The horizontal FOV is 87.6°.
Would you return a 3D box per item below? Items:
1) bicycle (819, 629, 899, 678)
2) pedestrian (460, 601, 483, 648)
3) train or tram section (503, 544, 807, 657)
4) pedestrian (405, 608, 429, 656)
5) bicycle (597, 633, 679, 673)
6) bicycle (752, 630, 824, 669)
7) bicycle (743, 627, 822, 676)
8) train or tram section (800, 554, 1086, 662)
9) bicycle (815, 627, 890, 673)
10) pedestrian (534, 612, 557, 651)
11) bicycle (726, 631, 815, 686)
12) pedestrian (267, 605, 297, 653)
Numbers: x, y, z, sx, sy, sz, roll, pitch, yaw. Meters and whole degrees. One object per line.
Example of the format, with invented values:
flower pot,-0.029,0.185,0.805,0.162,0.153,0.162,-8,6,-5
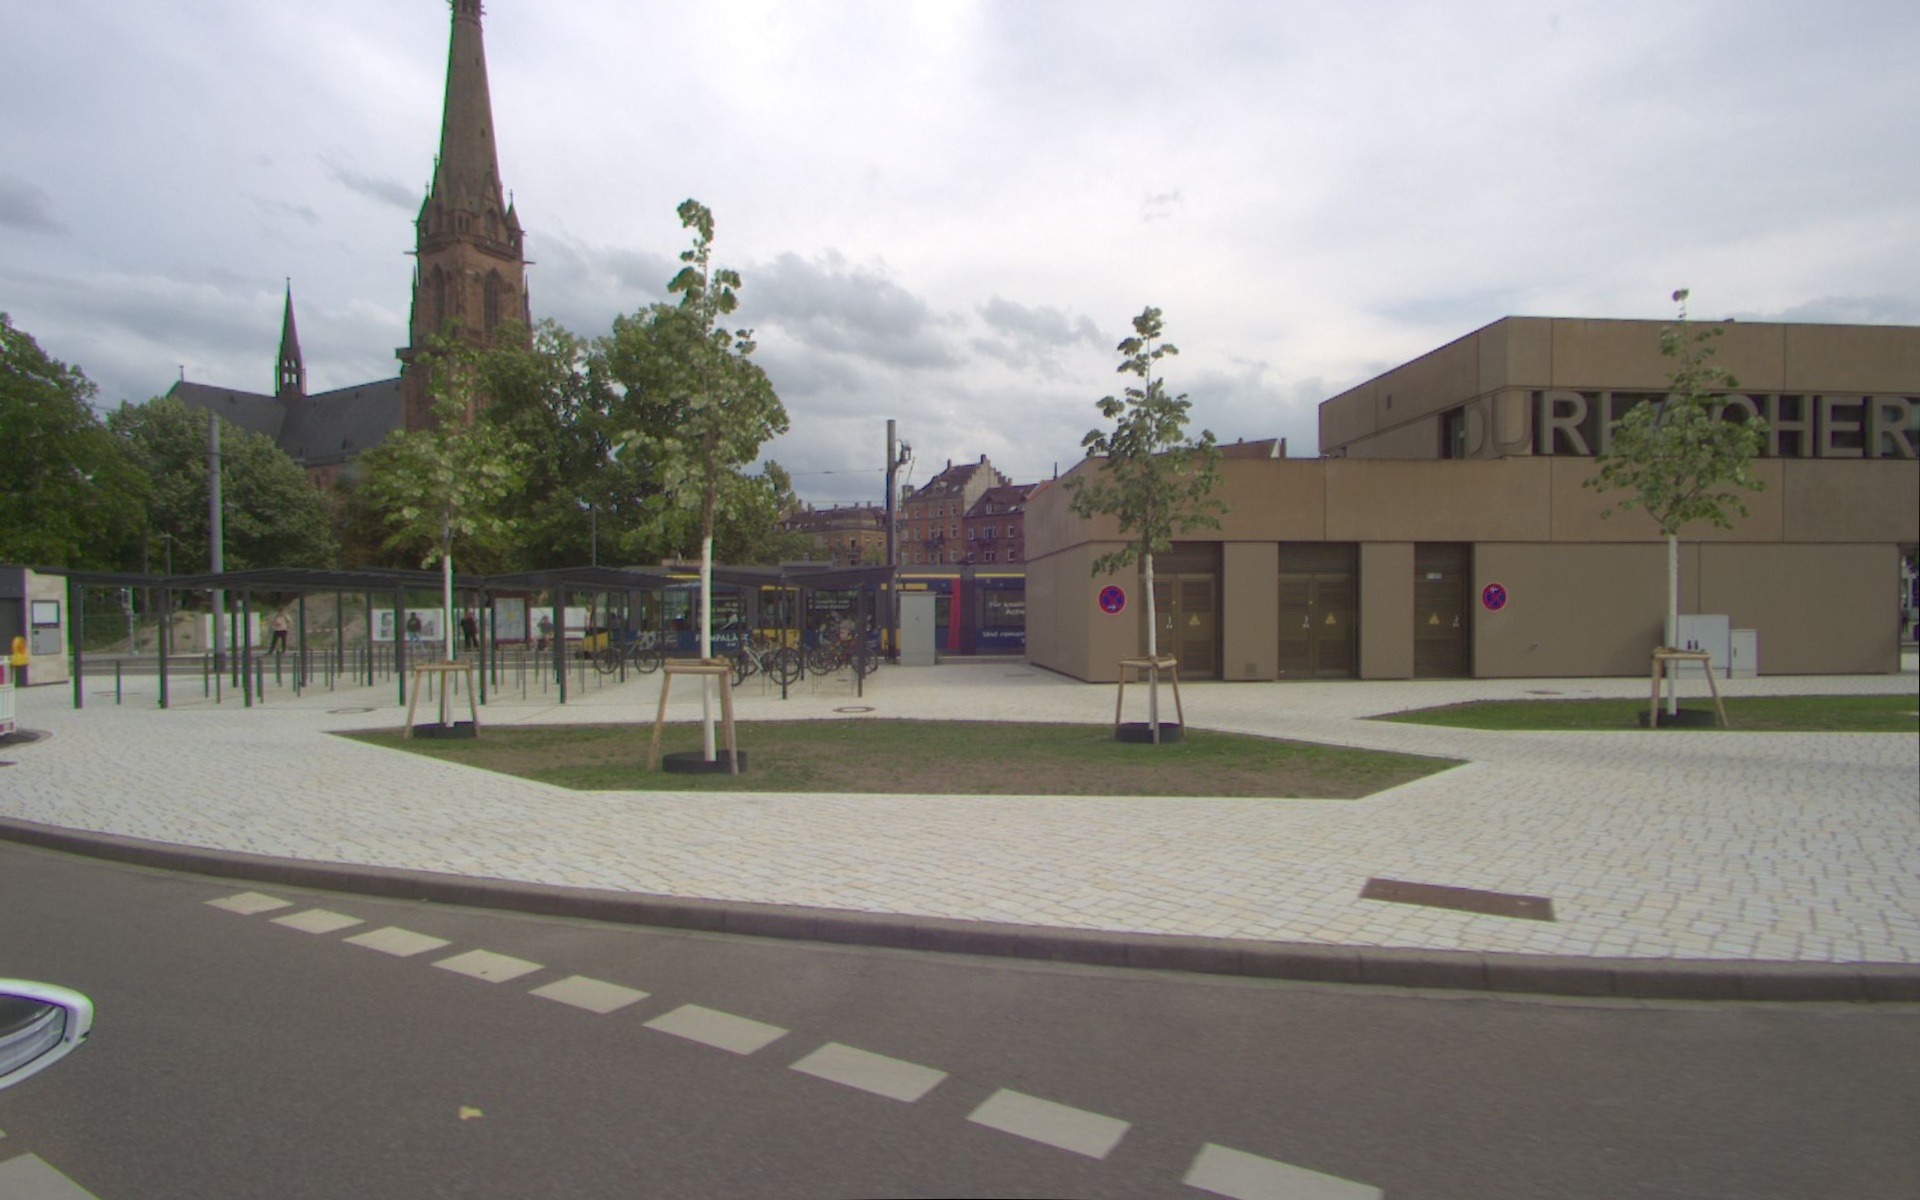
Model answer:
bicycle,-2.580,1.366,25.515,1.931,1.172,0.583,2,1,-13
pedestrian,-19.136,0.951,39.214,0.665,1.825,0.522,1,1,-11
train or tram section,-9.889,0.035,33.396,9.189,3.321,3.061,2,1,-5
pedestrian,-21.053,1.247,38.862,0.665,1.825,0.522,1,1,-11
bicycle,-8.419,1.381,26.231,1.929,0.968,0.583,2,1,-7
bicycle,-4.785,1.376,27.910,1.929,0.983,0.583,2,1,-7
bicycle,-4.507,1.306,25.447,1.931,1.172,0.583,2,1,-13
train or tram section,-0.618,0.276,34.144,9.248,3.256,3.061,2,1,-5
bicycle,-2.886,1.347,26.937,1.931,1.172,0.583,2,1,-13
pedestrian,-16.353,1.227,39.520,0.665,1.505,0.689,1,1,-11
bicycle,-4.287,1.331,22.670,1.931,1.172,0.583,2,1,-13
pedestrian,-26.254,1.127,38.784,0.743,1.825,0.817,3,2,42
